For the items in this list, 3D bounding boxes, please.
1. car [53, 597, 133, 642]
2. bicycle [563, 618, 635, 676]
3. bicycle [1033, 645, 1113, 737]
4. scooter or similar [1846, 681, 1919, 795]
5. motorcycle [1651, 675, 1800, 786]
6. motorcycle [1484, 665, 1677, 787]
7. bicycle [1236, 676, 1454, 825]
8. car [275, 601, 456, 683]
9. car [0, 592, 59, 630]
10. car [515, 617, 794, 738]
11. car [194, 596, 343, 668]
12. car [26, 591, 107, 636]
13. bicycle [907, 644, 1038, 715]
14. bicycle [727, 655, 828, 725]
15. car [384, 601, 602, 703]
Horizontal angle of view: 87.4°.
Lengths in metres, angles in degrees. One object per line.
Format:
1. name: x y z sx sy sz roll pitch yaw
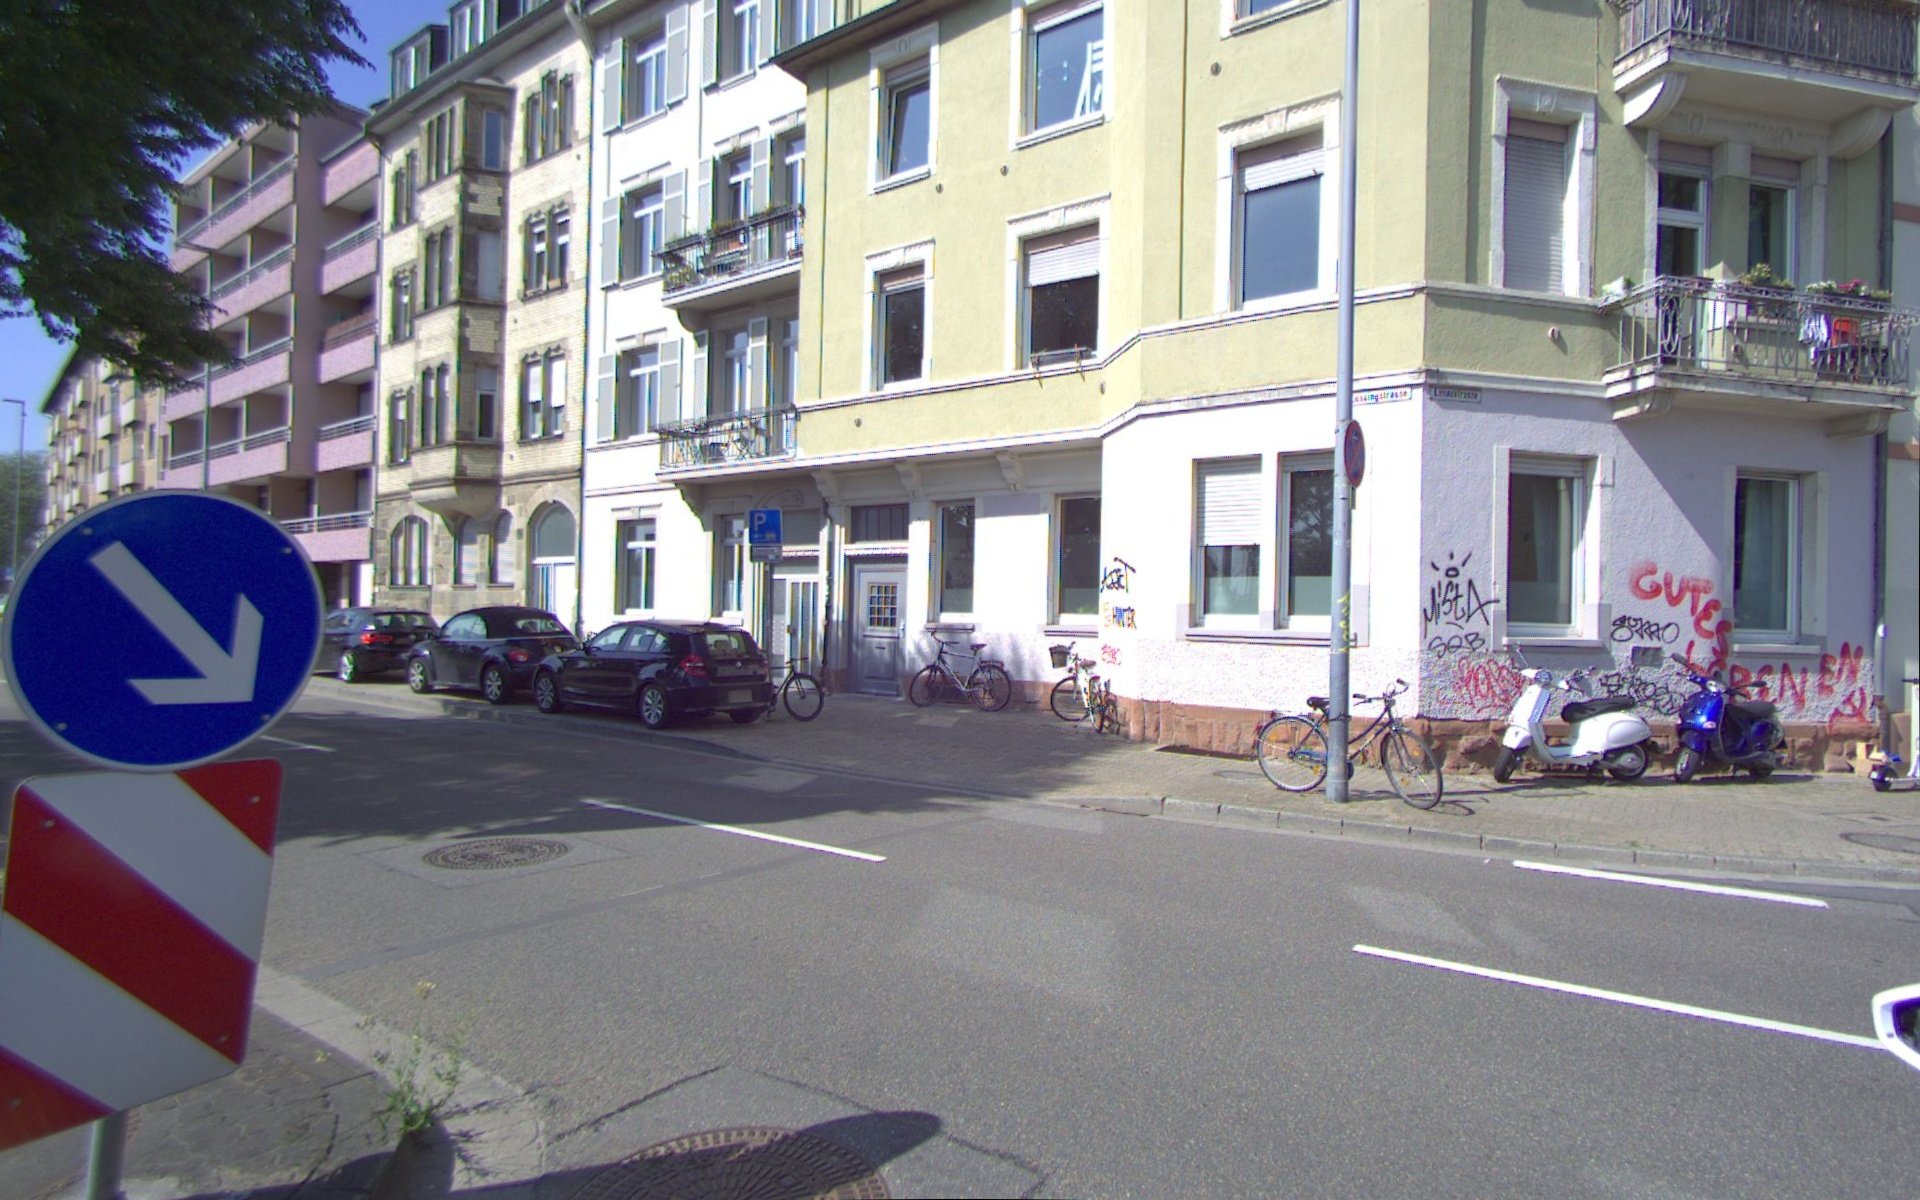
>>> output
1. car: -29.899 0.644 34.612 3.380 1.428 1.675 1 1 42
2. bicycle: -7.774 0.981 21.596 1.599 1.162 0.655 1 1 34
3. bicycle: 1.501 1.193 13.586 0.529 1.060 1.824 1 0 -11
4. scooter or similar: 9.977 1.436 10.642 1.427 1.142 0.273 2 0 -23
5. motorcycle: 8.173 1.390 10.732 1.425 1.109 0.427 2 0 -13
6. motorcycle: 6.282 1.262 10.195 1.731 1.165 0.473 0 1 -6
7. bicycle: 3.367 1.273 8.851 1.704 1.102 0.577 1 -1 33
8. car: -12.042 0.794 20.268 4.059 1.472 1.642 0 -1 36
9. car: -41.029 0.463 43.990 4.066 1.525 1.754 0 -3 41
10. car: -4.427 0.994 14.359 4.014 1.435 1.740 1 0 36
11. car: -16.057 0.681 23.276 3.938 1.502 1.783 1 0 39
12. car: -33.567 0.482 37.712 4.289 1.562 1.733 1 -1 41
13. bicycle: 0.178 1.217 15.825 2.079 0.958 0.607 1 1 35
14. bicycle: -2.674 1.293 14.647 1.554 0.903 0.448 1 0 33
15. car: -8.003 0.795 17.104 3.944 1.521 1.642 1 0 36
